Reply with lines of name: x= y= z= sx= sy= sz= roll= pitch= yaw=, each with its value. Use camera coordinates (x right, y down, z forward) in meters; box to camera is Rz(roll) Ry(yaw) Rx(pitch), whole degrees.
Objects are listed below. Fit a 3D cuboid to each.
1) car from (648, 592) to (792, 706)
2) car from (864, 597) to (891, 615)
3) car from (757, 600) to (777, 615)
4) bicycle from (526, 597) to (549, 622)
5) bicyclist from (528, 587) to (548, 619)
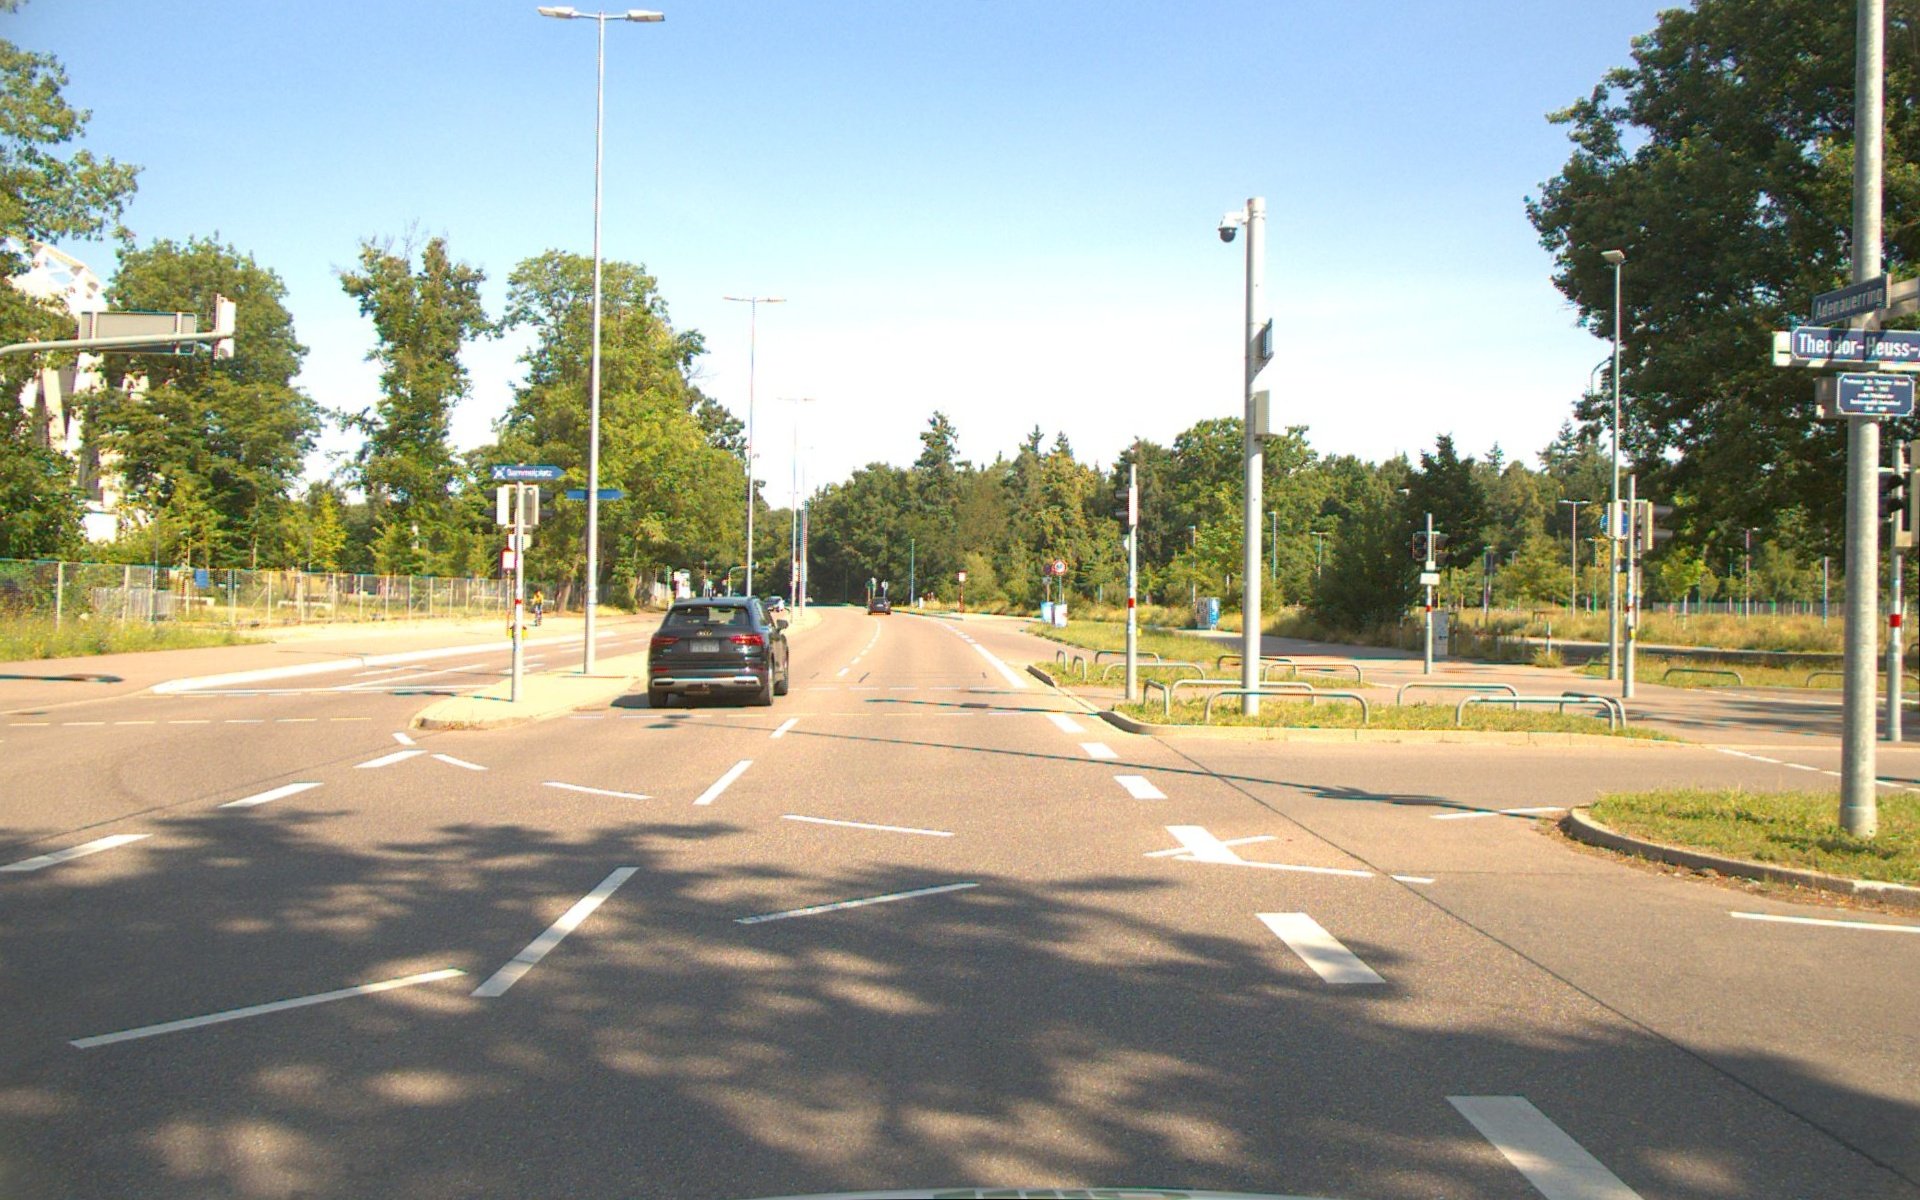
car: x=-3.539 y=0.672 z=25.056 sx=1.653 sy=1.571 sz=4.147 roll=0 pitch=0 yaw=-1
car: x=-6.823 y=0.508 z=136.341 sx=1.904 sy=1.445 sz=4.286 roll=1 pitch=0 yaw=-7
car: x=-18.929 y=0.700 z=162.126 sx=1.777 sy=1.412 sz=4.153 roll=-2 pitch=0 yaw=-9
bicycle: x=-20.024 y=0.450 z=78.372 sx=0.646 sy=1.155 sz=1.877 roll=2 pitch=0 yaw=-3
bicyclist: x=-20.000 y=0.155 z=78.369 sx=0.646 sy=1.493 sz=1.057 roll=2 pitch=0 yaw=-3
